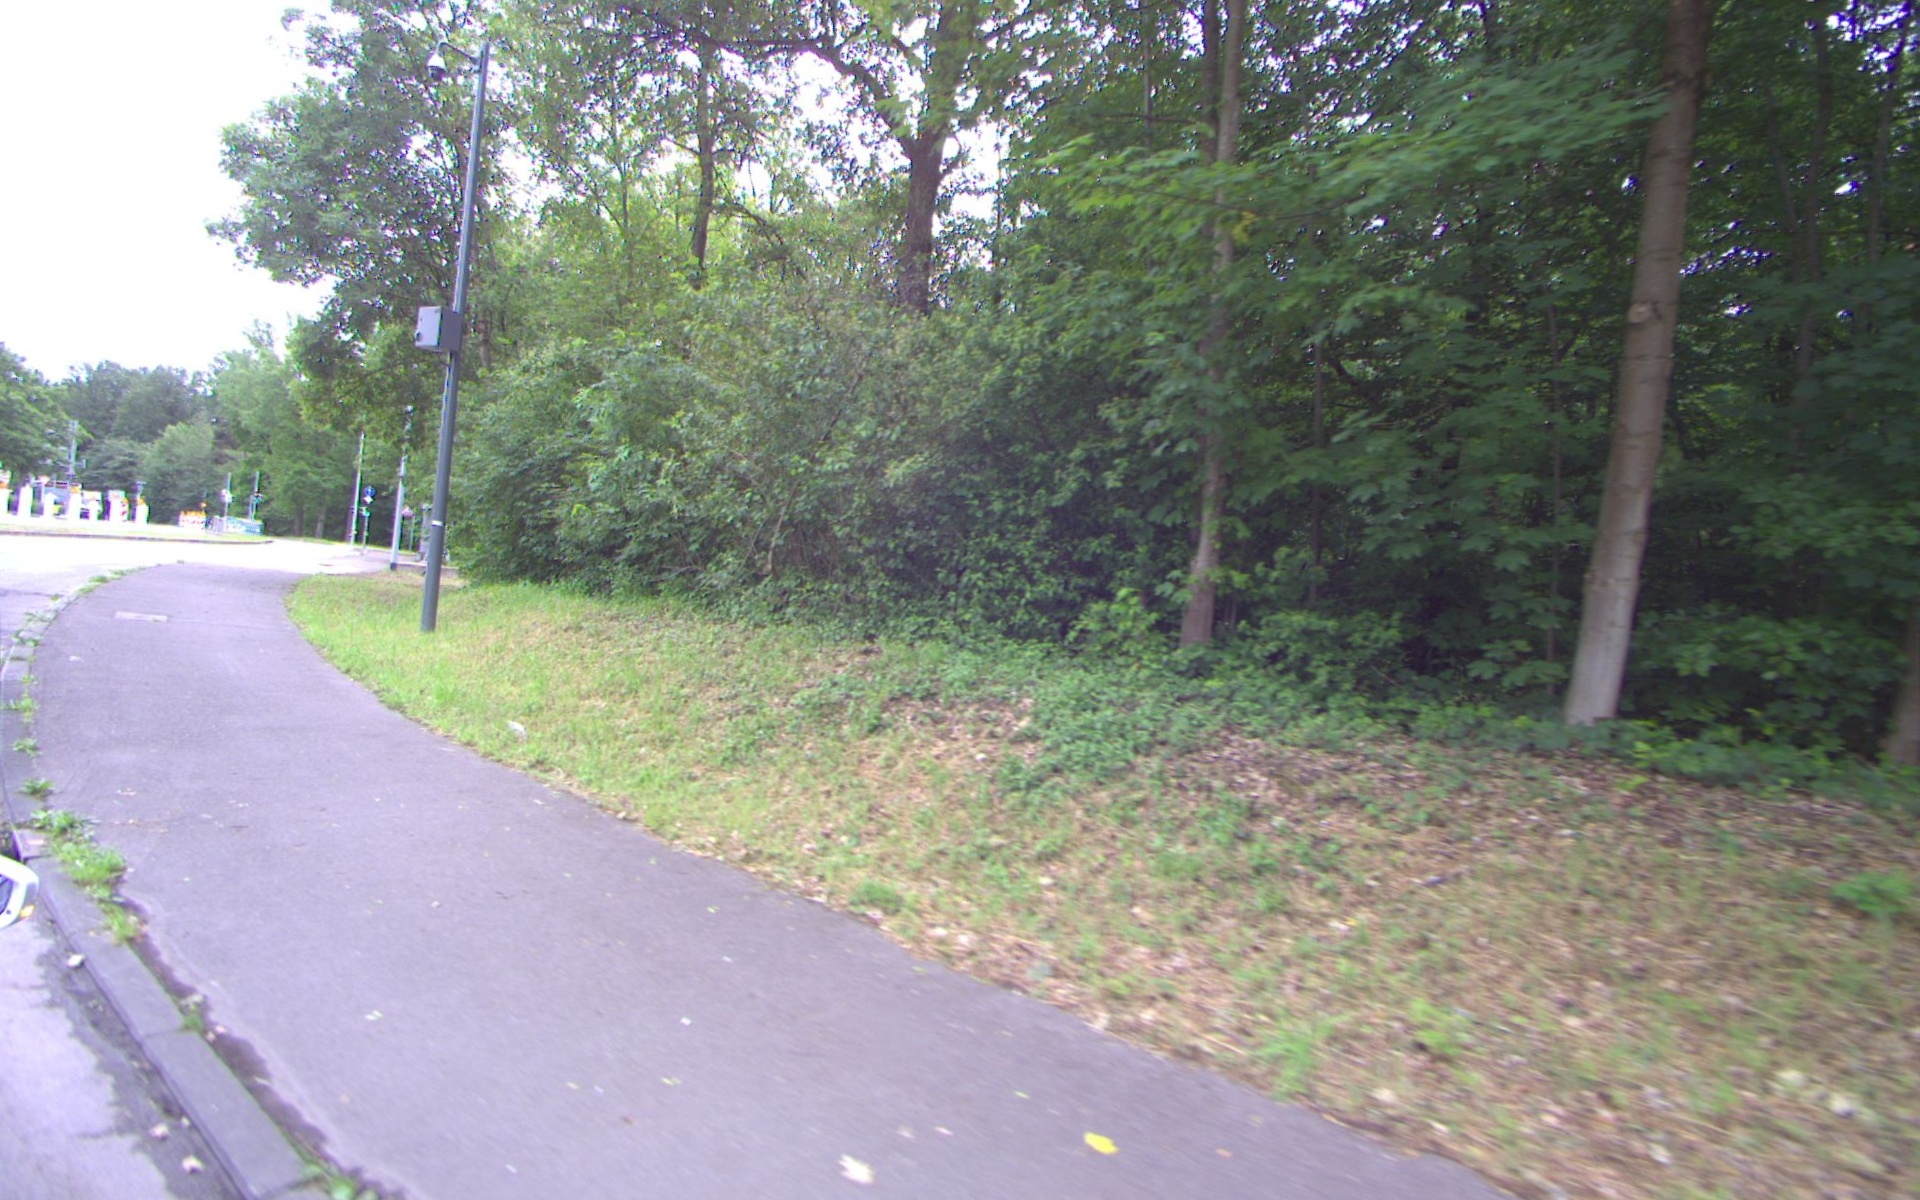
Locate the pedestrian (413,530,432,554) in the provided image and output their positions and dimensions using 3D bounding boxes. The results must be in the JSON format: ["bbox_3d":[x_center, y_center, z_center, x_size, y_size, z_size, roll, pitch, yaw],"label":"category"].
[{"bbox_3d":[-36.664,-3.966,68.655,0.829,1.525,0.789,6,1,-10],"label":"pedestrian"}]

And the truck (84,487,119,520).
[{"bbox_3d":[-100.207,-11.260,117.346,2.475,3.328,8.414,5,0,-44],"label":"truck"}]

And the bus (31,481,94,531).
[{"bbox_3d":[-77.747,-8.204,86.982,12.632,3.648,2.815,7,0,43],"label":"bus"}]
